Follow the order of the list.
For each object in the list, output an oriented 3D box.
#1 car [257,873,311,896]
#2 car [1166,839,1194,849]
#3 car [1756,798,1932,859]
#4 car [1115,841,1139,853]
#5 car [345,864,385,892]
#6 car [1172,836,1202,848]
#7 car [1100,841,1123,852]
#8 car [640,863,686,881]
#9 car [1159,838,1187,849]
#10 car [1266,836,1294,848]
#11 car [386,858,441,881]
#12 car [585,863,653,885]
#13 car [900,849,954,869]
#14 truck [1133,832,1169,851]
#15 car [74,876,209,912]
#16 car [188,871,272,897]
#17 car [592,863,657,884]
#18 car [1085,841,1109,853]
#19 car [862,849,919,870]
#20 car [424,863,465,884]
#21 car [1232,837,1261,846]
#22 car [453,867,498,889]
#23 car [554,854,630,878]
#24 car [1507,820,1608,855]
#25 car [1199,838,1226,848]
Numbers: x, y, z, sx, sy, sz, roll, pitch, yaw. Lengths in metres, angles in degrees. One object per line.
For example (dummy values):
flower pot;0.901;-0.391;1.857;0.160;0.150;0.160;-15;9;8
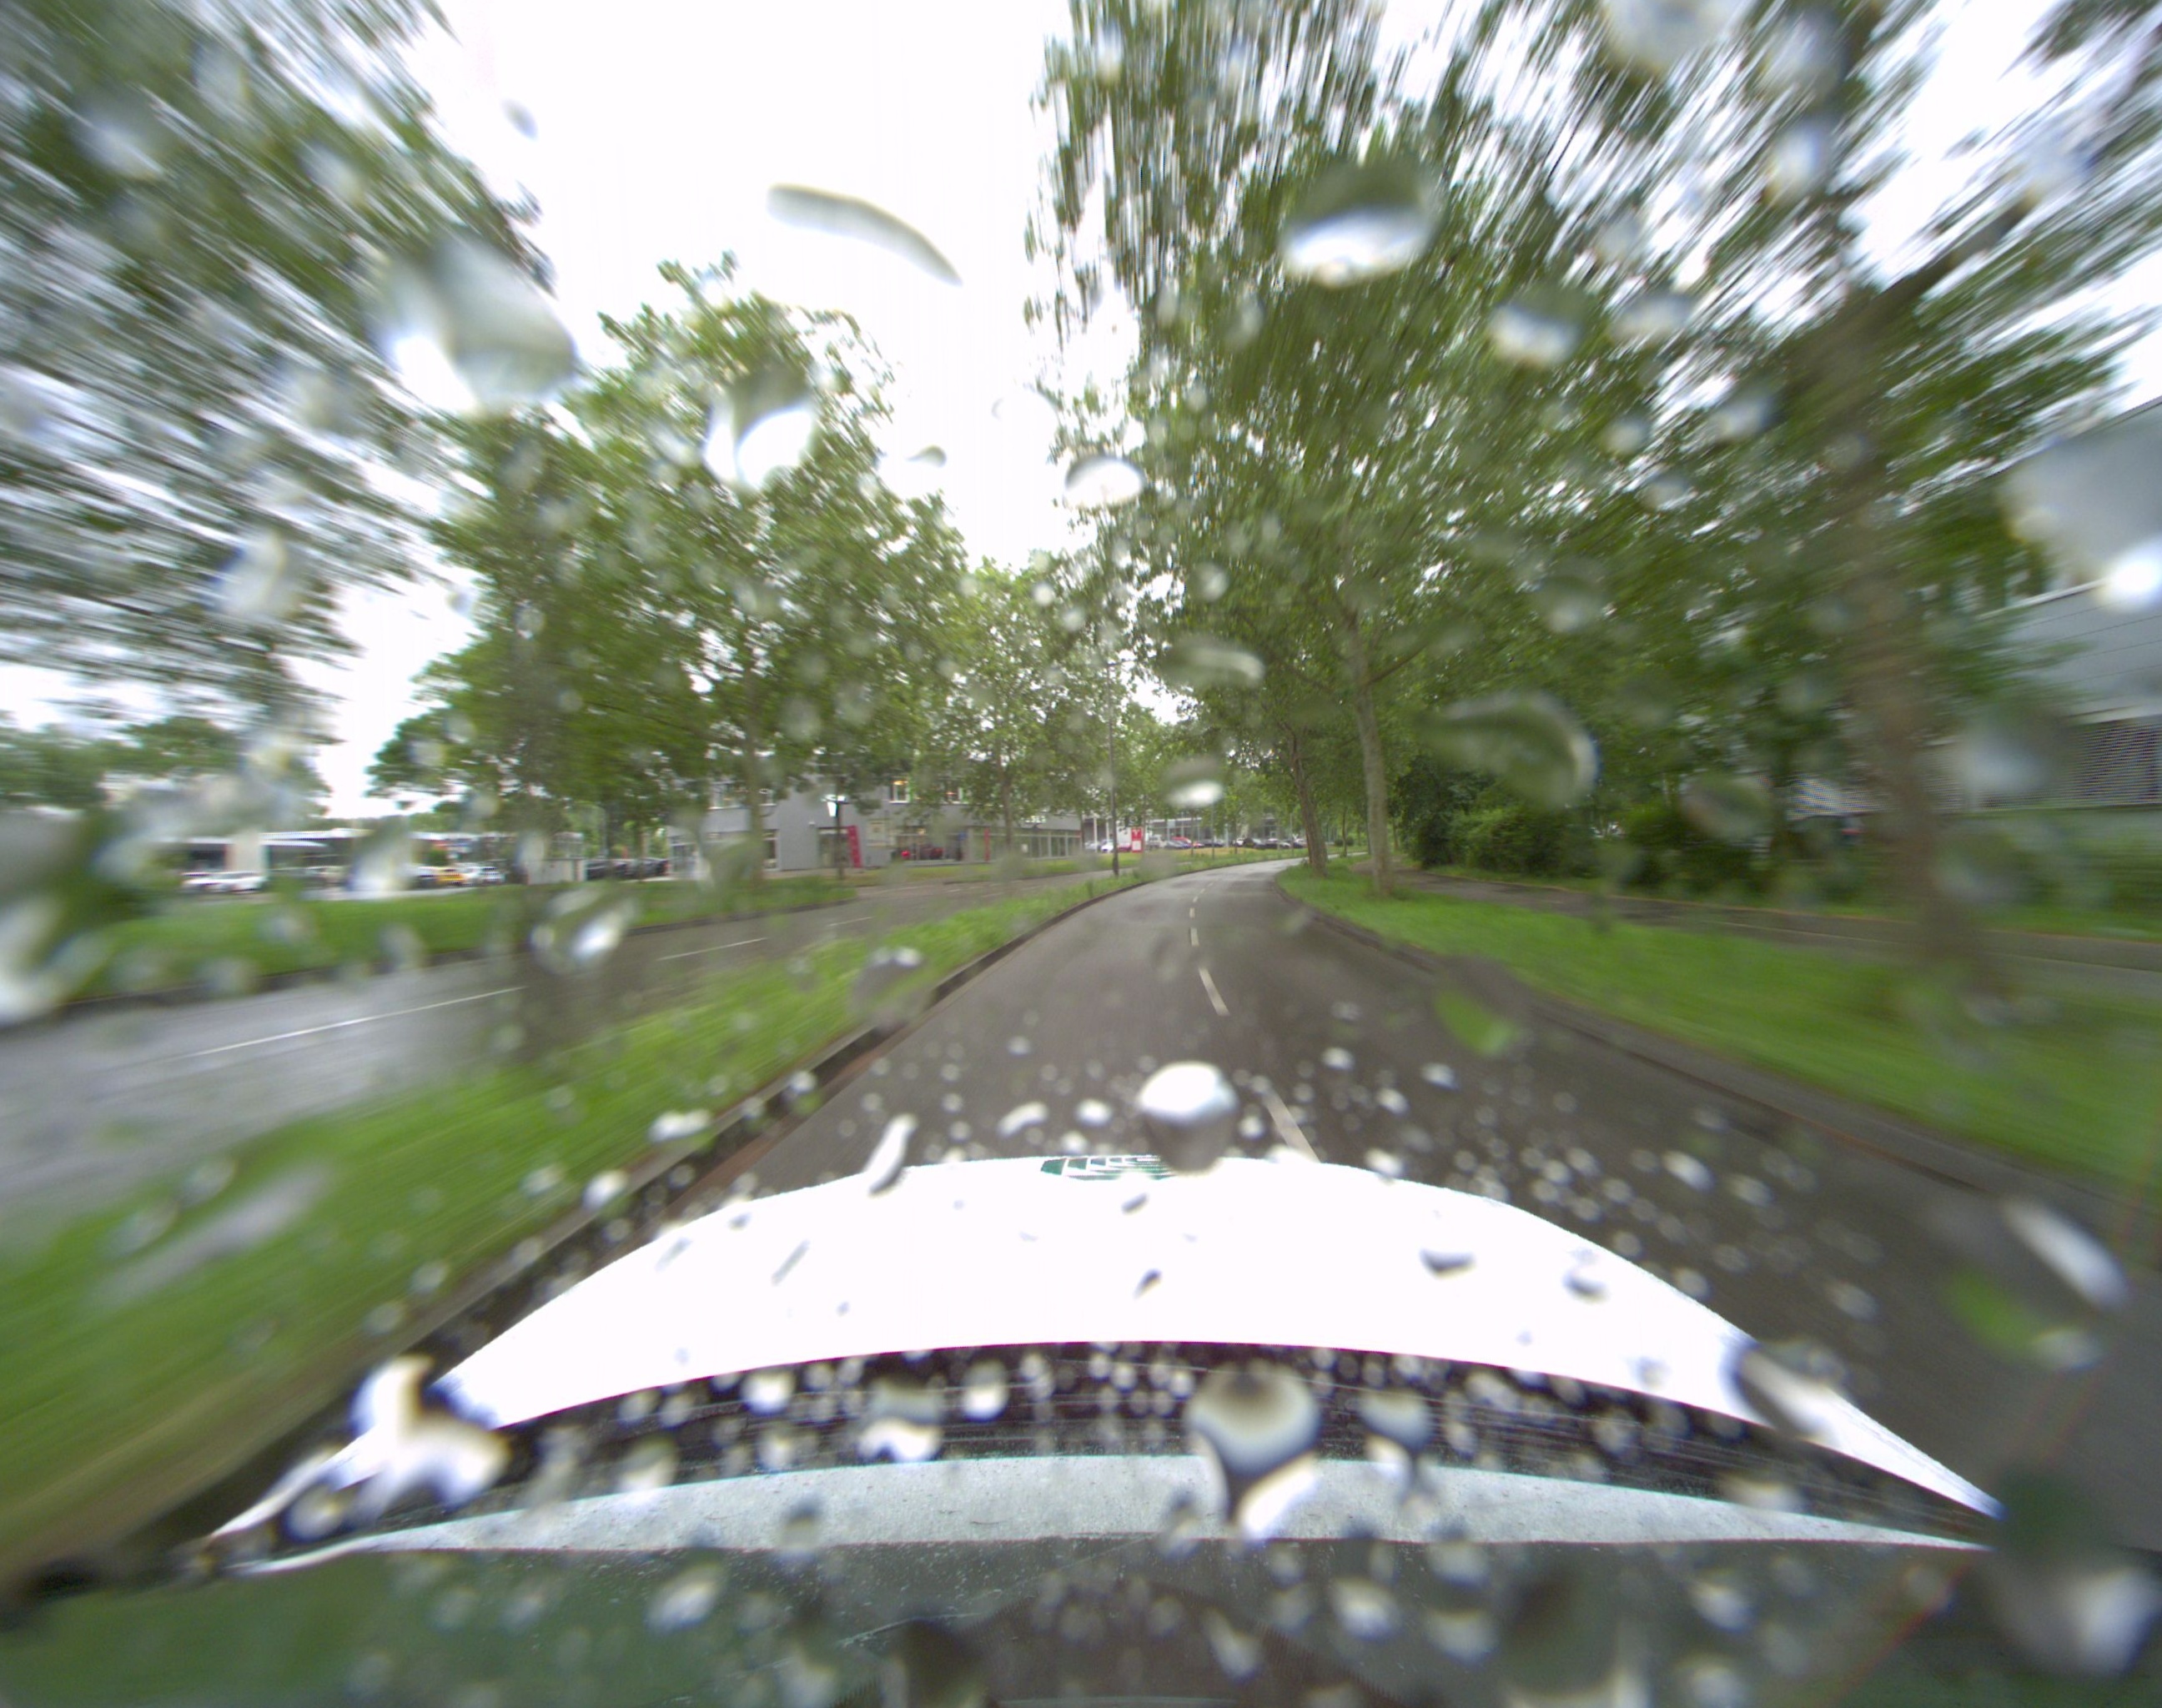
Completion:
car;-57.349;2.162;58.643;1.602;1.494;4.167;-1;0;-27
car;14.210;-1.473;117.120;3.489;1.326;1.780;2;4;32
car;21.886;-0.778;23.617;1.752;1.581;4.170;-1;3;10
car;6.407;-1.019;112.877;1.746;1.466;4.182;0;3;26
car;-50.274;1.653;57.168;1.829;1.813;4.153;-1;0;-44
car;15.561;-1.743;119.500;3.958;1.556;1.859;2;4;32
car;4.349;-1.029;114.780;1.746;1.396;4.182;0;3;26
car;-37.699;1.646;73.512;3.299;1.494;1.596;-1;0;-4
car;12.988;-1.468;115.159;3.489;1.326;1.780;2;4;32
car;33.221;-1.996;136.188;4.113;1.478;1.844;4;6;-7
car;-45.858;1.089;55.923;4.150;1.494;1.897;-1;0;36
car;-35.196;1.509;62.082;4.183;1.494;1.596;-1;0;-4
car;-12.439;0.410;65.752;4.153;1.494;1.607;-1;0;25
truck;9.663;-1.813;111.736;2.225;2.343;6.235;2;4;33
car;-42.497;1.758;37.000;1.592;1.358;4.280;-1;0;-8
car;-55.583;1.903;53.299;1.593;1.494;4.190;-1;0;-11
car;-36.387;1.556;65.035;4.183;1.494;1.596;-1;0;-4
car;2.292;-1.005;115.891;1.746;1.396;4.182;0;3;26
car;-14.713;0.449;62.900;4.153;1.494;1.607;-1;0;25
car;-45.847;1.394;58.613;3.033;1.494;1.608;-1;0;38
car;27.679;-2.048;136.518;4.379;1.473;1.932;-1;1;30
car;-45.192;1.770;60.756;4.150;1.494;1.608;-1;0;38
car;-33.858;0.823;56.475;4.183;1.494;1.596;-1;0;-4
car;24.142;-0.813;41.382;3.967;1.651;1.928;-1;0;5
car;20.703;-1.768;128.143;3.967;1.357;1.855;1;3;14
